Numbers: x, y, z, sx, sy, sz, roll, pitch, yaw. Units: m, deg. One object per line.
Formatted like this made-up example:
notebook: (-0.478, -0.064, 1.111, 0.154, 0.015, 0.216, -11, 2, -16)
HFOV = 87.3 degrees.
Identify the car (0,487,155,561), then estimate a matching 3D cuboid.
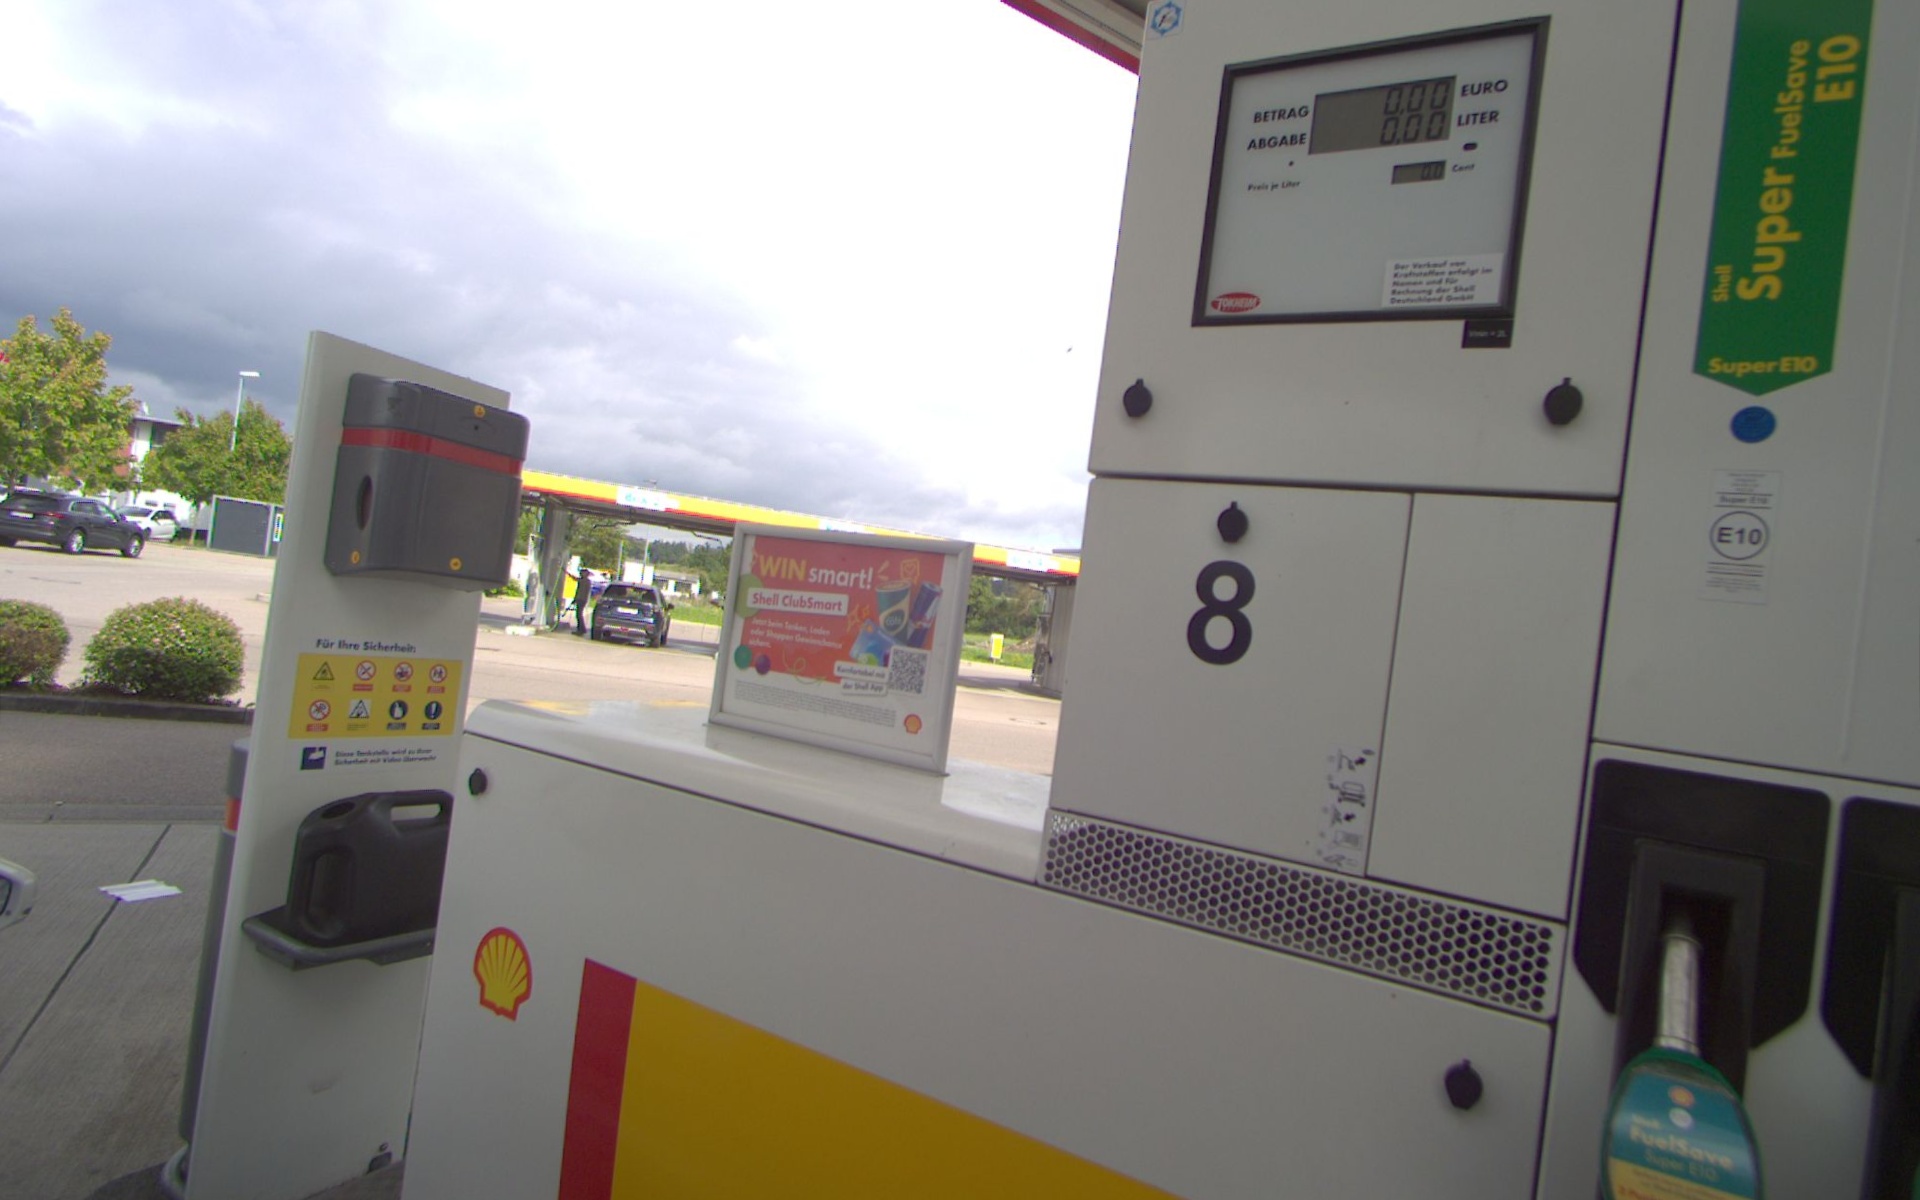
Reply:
car: (-25.918, -2.166, 29.261, 1.855, 1.566, 4.498, 8, -2, -10)

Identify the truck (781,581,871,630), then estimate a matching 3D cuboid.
truck: (-13.003, 0.569, 97.506, 7.978, 3.575, 2.687, 8, -2, -19)

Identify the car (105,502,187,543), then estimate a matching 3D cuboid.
car: (-35.247, -3.338, 43.647, 1.346, 1.322, 3.098, 8, -2, -12)

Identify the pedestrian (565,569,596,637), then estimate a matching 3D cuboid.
pedestrian: (-10.082, 0.080, 26.721, 0.550, 1.742, 0.526, 7, -1, -21)

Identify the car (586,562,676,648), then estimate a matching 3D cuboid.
car: (-8.686, 0.153, 26.862, 1.696, 1.919, 3.800, 8, -2, -12)

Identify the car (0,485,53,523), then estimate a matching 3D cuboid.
car: (-57.348, -5.901, 60.243, 2.149, 1.854, 4.870, 8, -2, -11)
